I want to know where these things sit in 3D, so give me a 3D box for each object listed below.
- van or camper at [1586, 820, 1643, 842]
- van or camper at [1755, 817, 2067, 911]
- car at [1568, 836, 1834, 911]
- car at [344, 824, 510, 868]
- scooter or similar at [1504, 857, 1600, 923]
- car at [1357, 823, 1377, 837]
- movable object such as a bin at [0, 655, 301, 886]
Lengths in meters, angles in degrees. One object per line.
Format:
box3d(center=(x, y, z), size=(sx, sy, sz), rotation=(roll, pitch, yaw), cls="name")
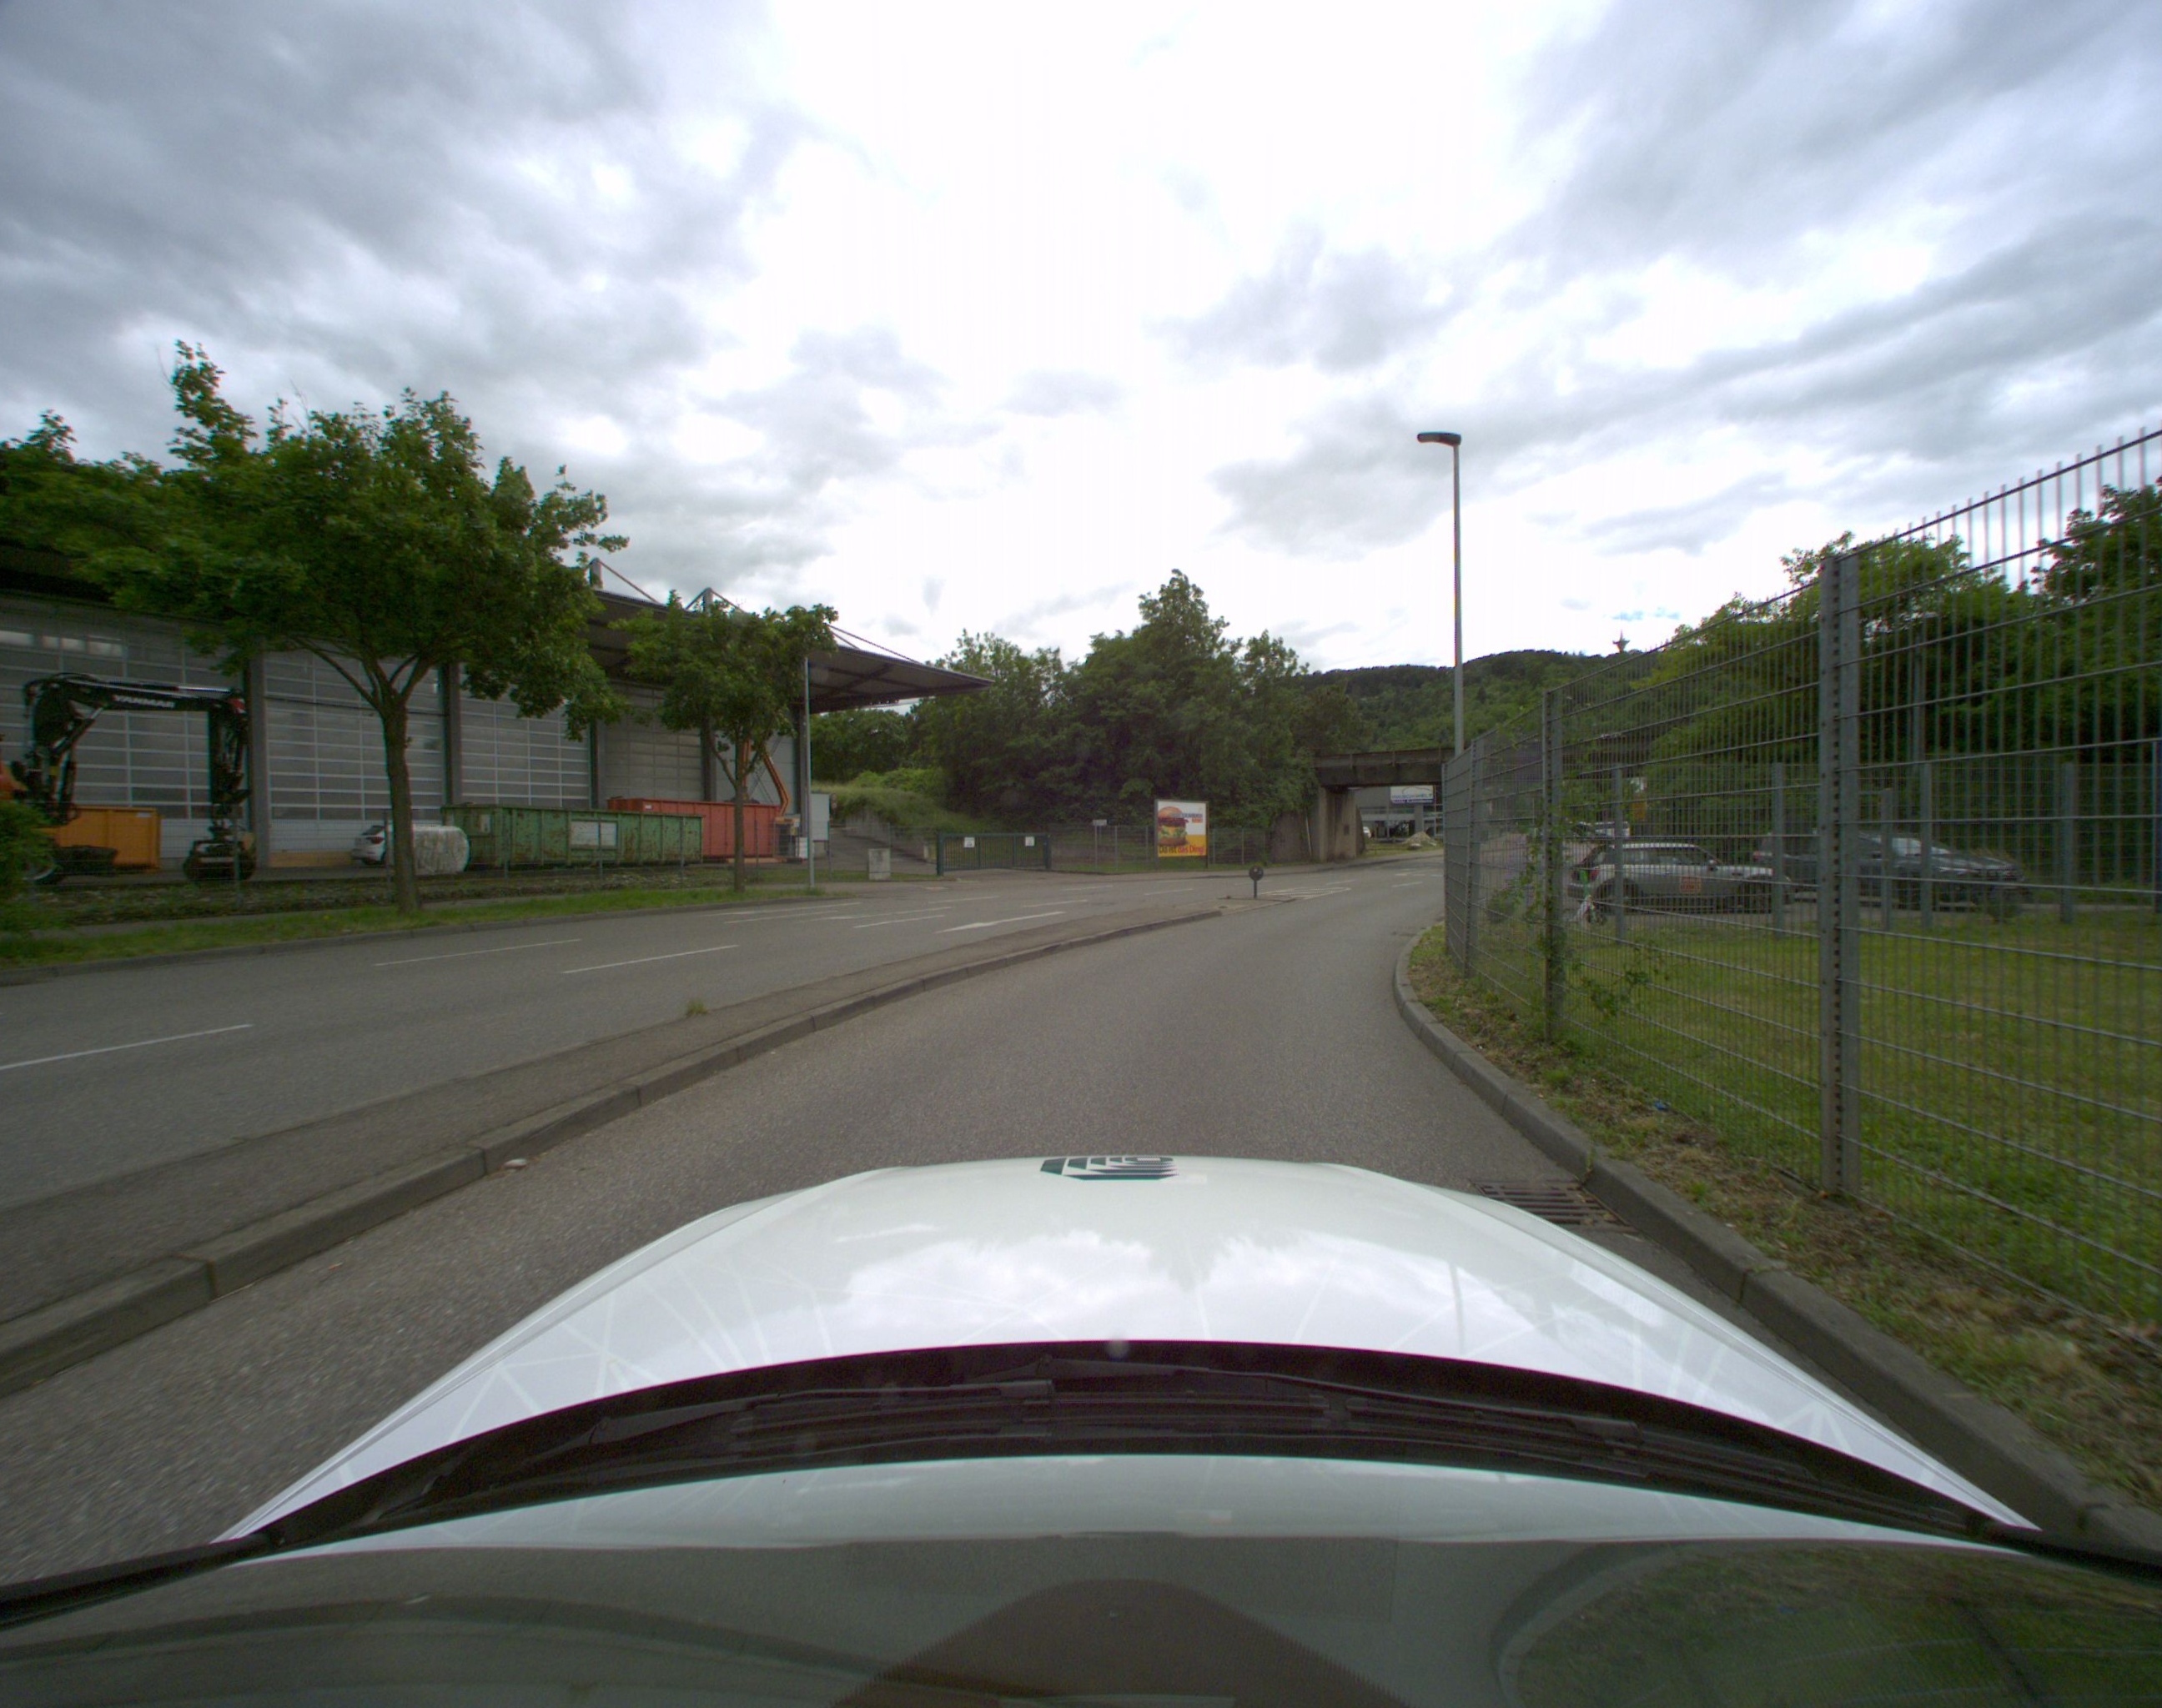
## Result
box3d(center=(50.340, -2.141, 76.886), size=(2.102, 2.083, 4.185), rotation=(-1, 1, -15), cls="van or camper")
box3d(center=(16.959, 0.141, 17.050), size=(1.823, 1.694, 4.502), rotation=(0, 1, -3), cls="van or camper")
box3d(center=(12.566, 0.381, 16.791), size=(3.977, 1.432, 1.793), rotation=(-1, 1, 15), cls="car")
box3d(center=(-21.994, -0.281, 27.558), size=(1.715, 1.374, 4.026), rotation=(0, 1, 33), cls="car")
box3d(center=(8.428, 0.633, 14.595), size=(1.401, 1.133, 0.483), rotation=(-2, 0, 41), cls="scooter or similar")
box3d(center=(32.558, -2.699, 92.725), size=(1.978, 1.535, 4.018), rotation=(0, 2, 17), cls="car")
box3d(center=(-20.027, -1.497, 15.657), size=(2.700, 4.090, 6.592), rotation=(-1, 1, 26), cls="movable object such as a bin")
